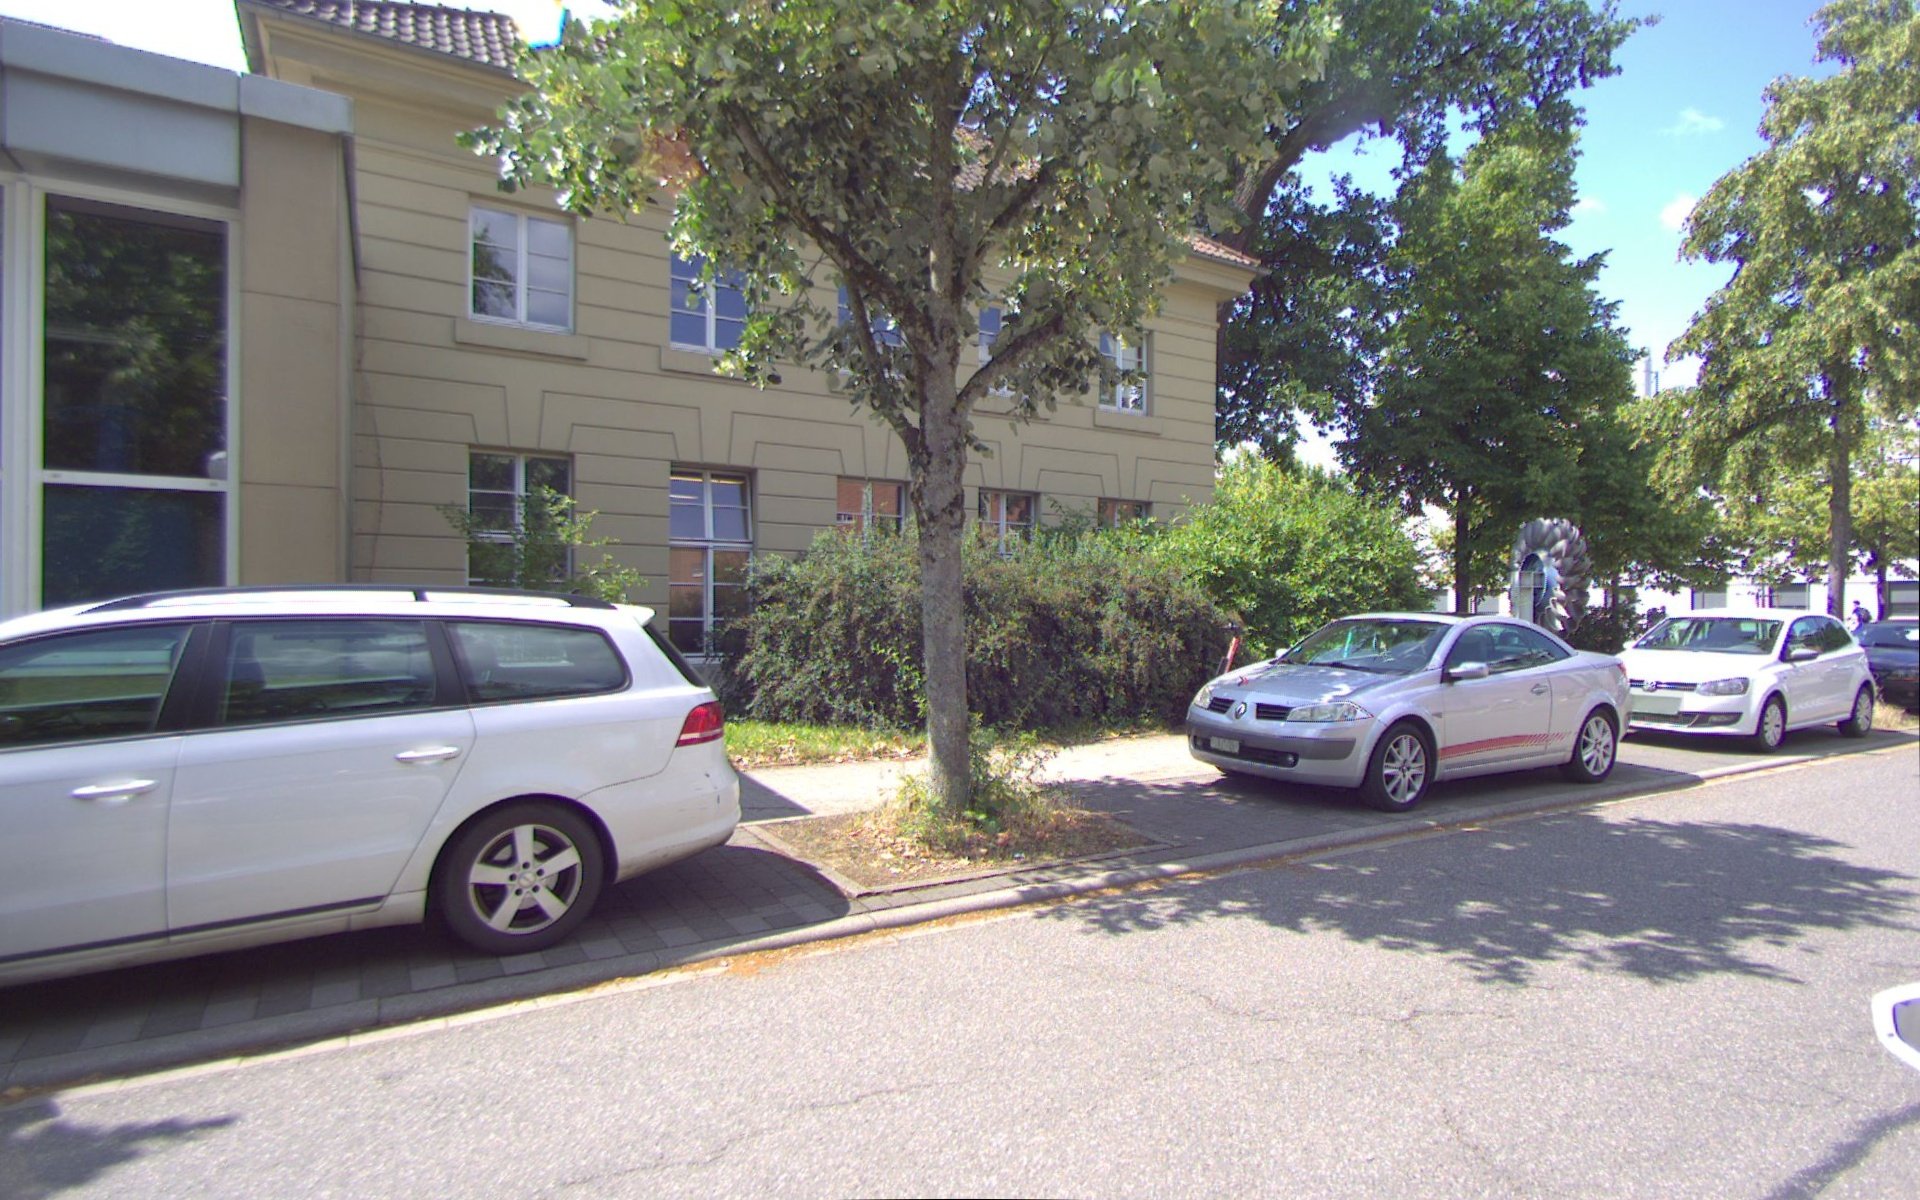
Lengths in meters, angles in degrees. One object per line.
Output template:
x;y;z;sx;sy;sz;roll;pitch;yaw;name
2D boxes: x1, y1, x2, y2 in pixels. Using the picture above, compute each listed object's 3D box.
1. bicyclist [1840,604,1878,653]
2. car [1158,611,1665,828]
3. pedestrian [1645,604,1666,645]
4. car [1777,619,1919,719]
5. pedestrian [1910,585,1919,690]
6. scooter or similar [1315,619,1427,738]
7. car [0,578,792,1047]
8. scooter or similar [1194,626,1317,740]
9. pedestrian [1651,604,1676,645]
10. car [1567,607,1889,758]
33.146;1.048;37.038;0.794;1.779;0.693;1;0;11;bicyclist
3.785;0.794;8.277;4.115;1.362;1.717;0;1;-30;car
29.949;1.051;43.261;0.579;1.788;0.549;1;0;-30;pedestrian
13.978;0.943;14.878;3.881;1.318;1.637;0;-1;-30;car
18.101;0.692;18.143;0.998;1.929;1.178;1;0;23;pedestrian
4.808;0.898;11.740;1.215;1.304;0.522;-1;-3;-31;scooter or similar
-3.140;0.667;4.126;4.534;1.476;1.715;1;1;-33;car
3.205;0.887;10.922;1.206;1.187;0.471;1;0;-11;scooter or similar
30.583;1.062;43.667;0.629;1.772;0.690;1;0;-30;pedestrian
8.750;0.815;11.390;3.764;1.430;1.653;0;0;-31;car
